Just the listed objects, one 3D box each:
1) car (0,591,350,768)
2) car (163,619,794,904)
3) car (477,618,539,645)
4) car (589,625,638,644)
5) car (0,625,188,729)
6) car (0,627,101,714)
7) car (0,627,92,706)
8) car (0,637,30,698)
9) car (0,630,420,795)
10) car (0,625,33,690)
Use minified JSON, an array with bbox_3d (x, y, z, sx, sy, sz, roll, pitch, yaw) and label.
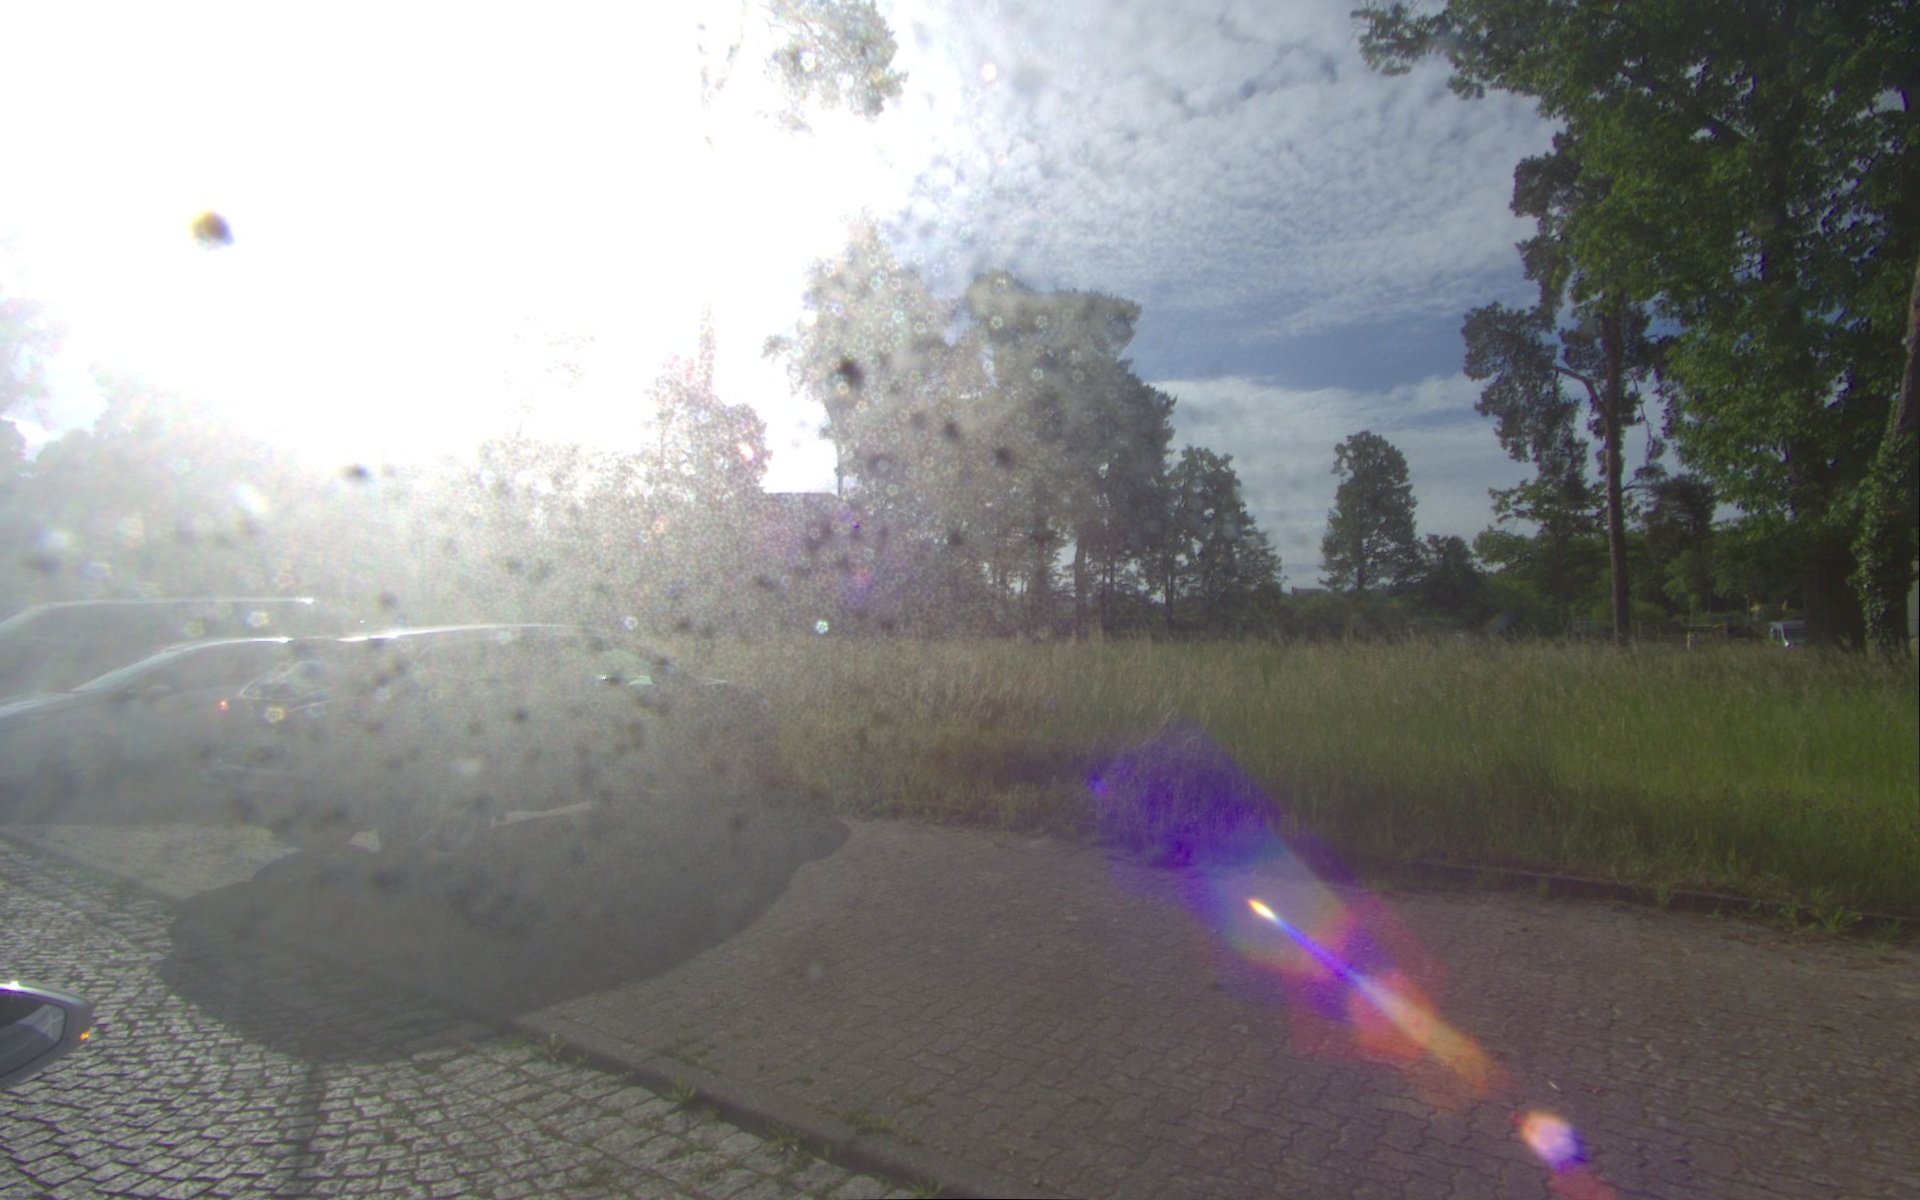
[{"bbox_3d":[-10.754,0.897,12.728,1.964,1.954,4.721,-1,0,33],"label":"car"},{"bbox_3d":[-3.428,0.970,7.951,1.852,1.609,4.182,-1,-1,33],"label":"car"},{"bbox_3d":[-44.625,3.101,98.926,2.234,2.568,5.145,-1,-2,35],"label":"car"},{"bbox_3d":[-31.217,3.134,90.401,1.830,1.701,3.926,-1,-2,32],"label":"car"},{"bbox_3d":[-14.951,1.192,15.950,1.783,1.550,3.865,-1,-1,34],"label":"car"},{"bbox_3d":[-17.526,1.226,17.164,1.806,1.486,3.941,-1,-1,34],"label":"car"},{"bbox_3d":[-19.557,1.300,19.317,1.748,1.514,3.941,-1,-1,34],"label":"car"},{"bbox_3d":[-21.897,1.436,20.496,1.703,1.277,3.941,-2,-2,34],"label":"car"},{"bbox_3d":[-8.675,1.112,11.379,1.781,1.488,4.185,-1,-1,30],"label":"car"},{"bbox_3d":[-23.621,1.325,22.142,1.716,1.492,4.331,-1,-1,33],"label":"car"}]
